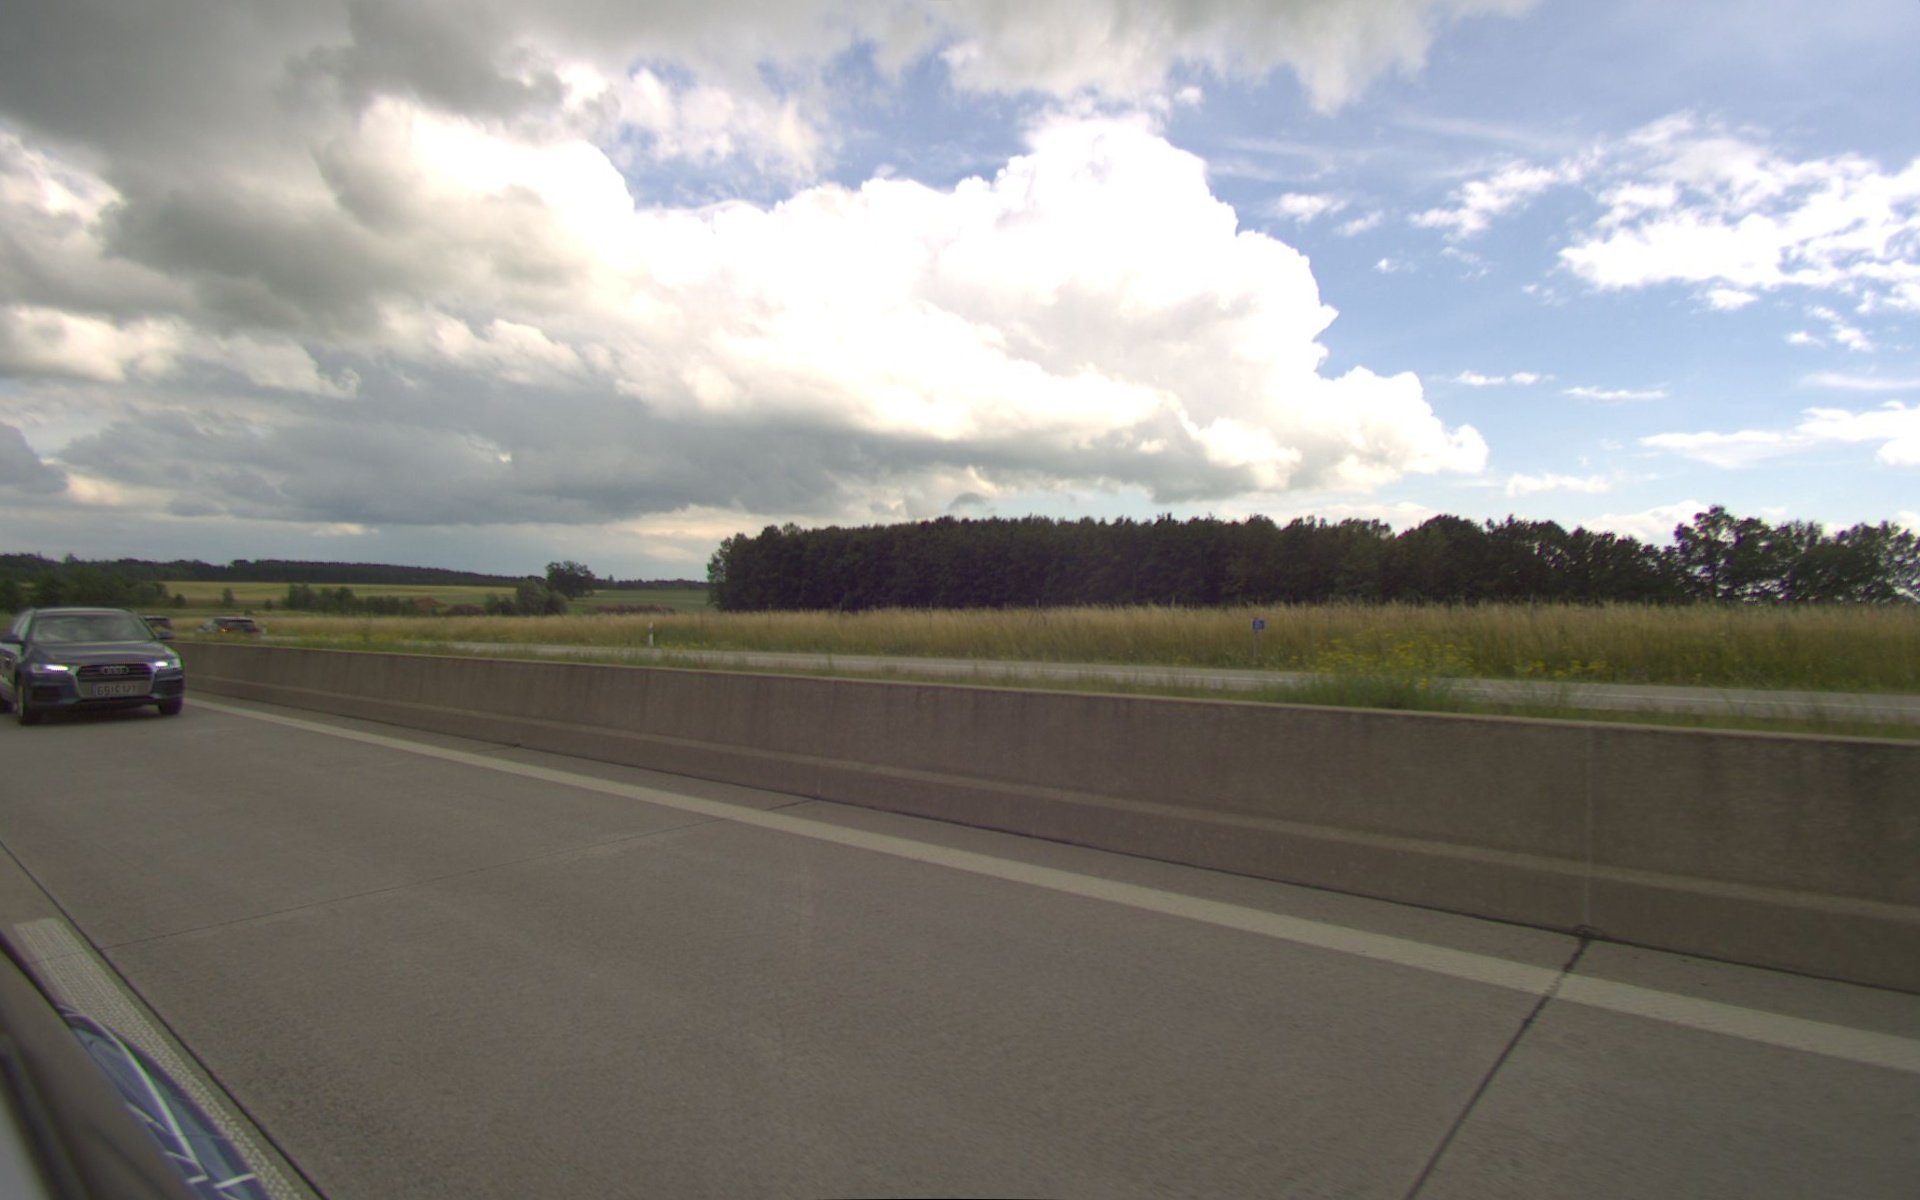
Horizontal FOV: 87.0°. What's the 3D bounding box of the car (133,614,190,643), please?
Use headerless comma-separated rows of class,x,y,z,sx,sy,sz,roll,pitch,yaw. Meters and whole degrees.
car,-47.926,1.684,60.703,4.060,1.697,1.973,-1,-1,41

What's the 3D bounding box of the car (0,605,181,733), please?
car,-13.426,0.914,15.266,5.156,1.608,1.774,-1,0,42

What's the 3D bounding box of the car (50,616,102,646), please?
car,-49.496,1.705,56.641,3.997,1.622,1.672,-1,-1,41

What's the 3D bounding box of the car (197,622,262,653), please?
car,-34.815,1.754,48.187,3.997,1.409,1.644,-1,-1,41
